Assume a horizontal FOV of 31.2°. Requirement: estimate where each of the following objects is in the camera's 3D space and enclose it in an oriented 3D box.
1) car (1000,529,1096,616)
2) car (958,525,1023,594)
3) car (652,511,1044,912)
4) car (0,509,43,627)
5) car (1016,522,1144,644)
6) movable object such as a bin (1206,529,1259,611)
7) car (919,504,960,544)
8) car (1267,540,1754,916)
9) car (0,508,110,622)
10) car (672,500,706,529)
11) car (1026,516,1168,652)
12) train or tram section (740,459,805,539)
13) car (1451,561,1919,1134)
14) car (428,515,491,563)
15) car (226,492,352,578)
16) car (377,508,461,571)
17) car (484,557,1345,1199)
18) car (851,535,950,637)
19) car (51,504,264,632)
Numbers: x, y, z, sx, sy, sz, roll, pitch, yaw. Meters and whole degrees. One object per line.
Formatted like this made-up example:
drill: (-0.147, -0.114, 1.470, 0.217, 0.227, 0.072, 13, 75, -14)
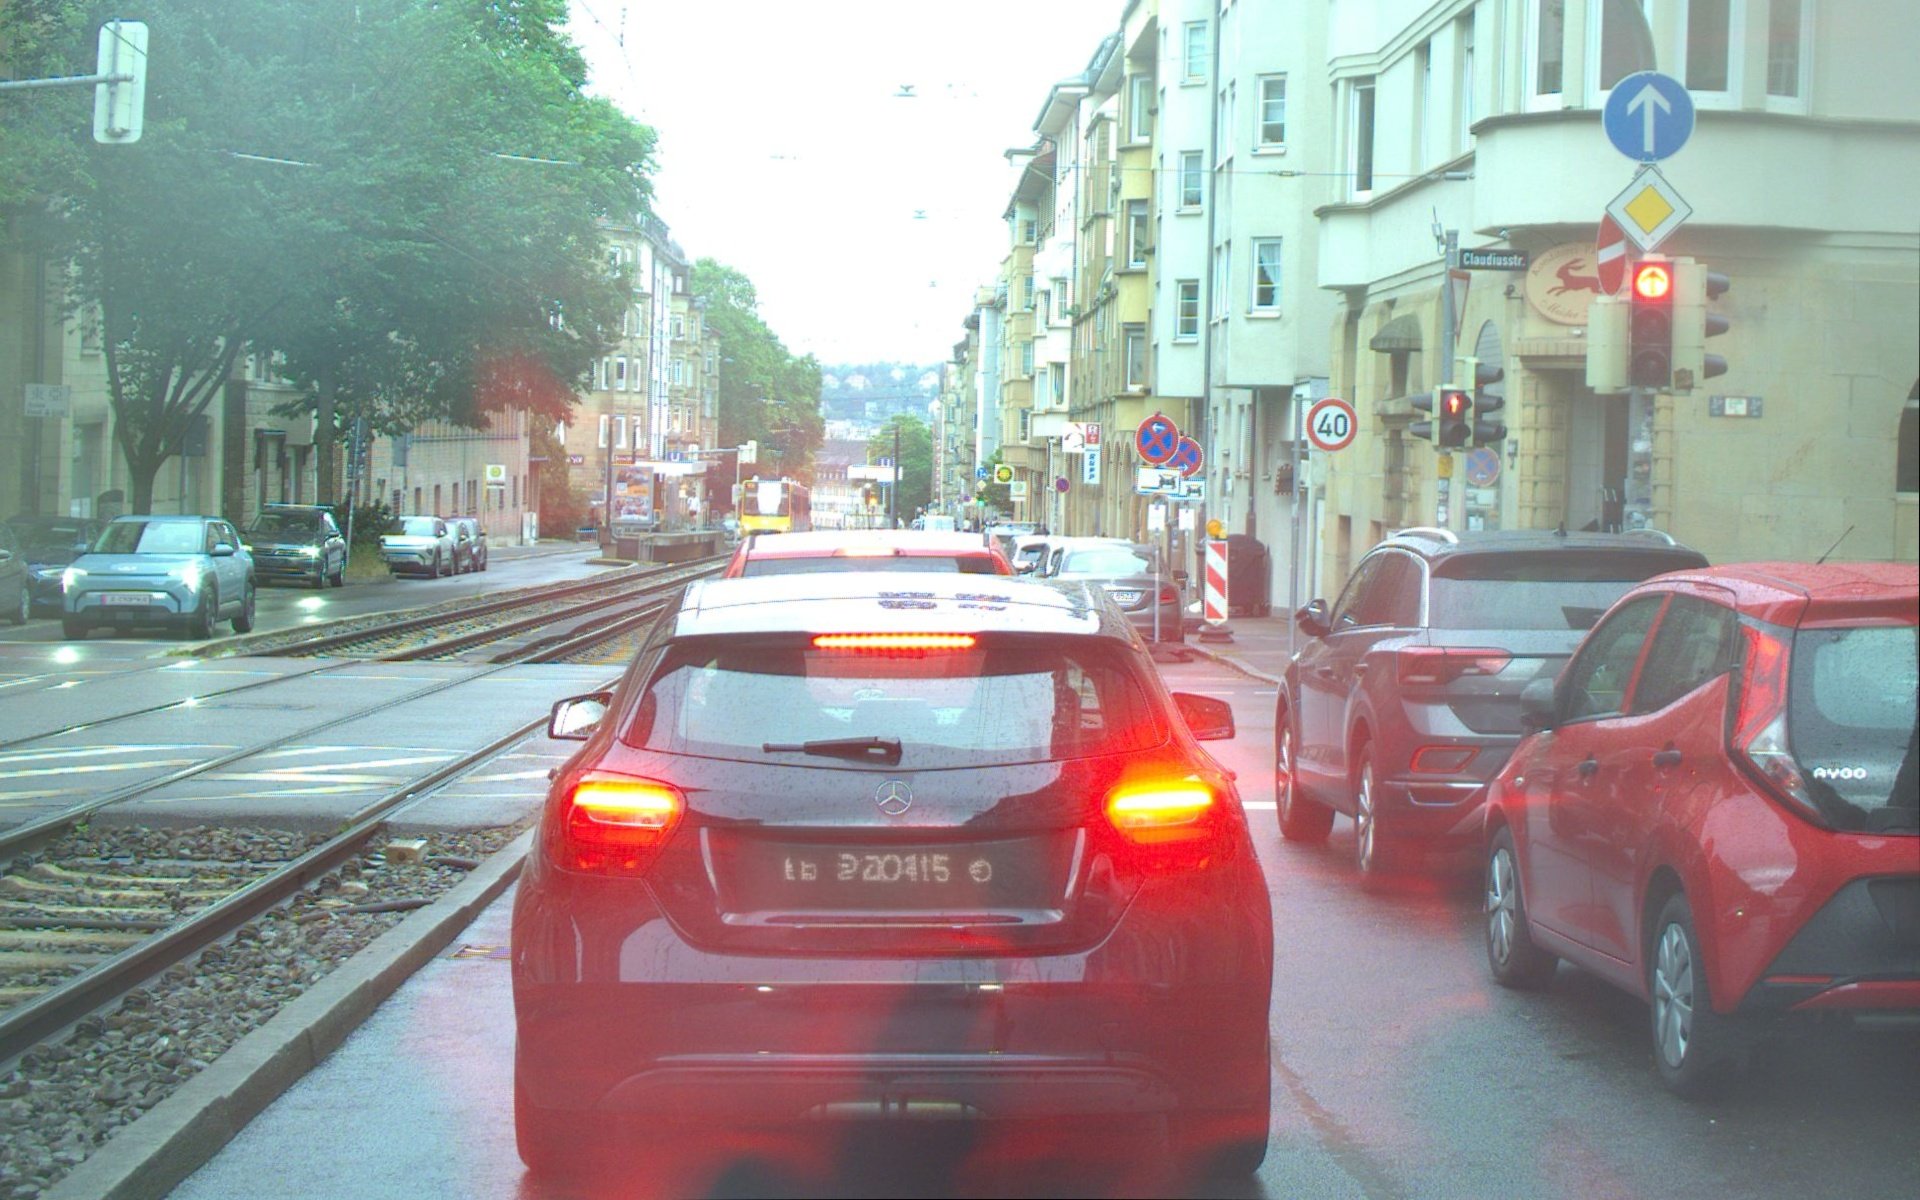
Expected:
car: (1.553, -0.515, 61.523, 1.544, 1.481, 3.548, 1, 1, -1)
car: (0.633, -0.876, 73.592, 1.294, 1.437, 2.929, 1, 1, -1)
car: (-0.478, 0.435, 15.842, 1.565, 1.604, 3.814, 1, 0, -1)
car: (-13.483, -0.433, 45.690, 1.752, 1.547, 4.036, 1, 0, -4)
car: (1.612, -0.258, 47.113, 1.544, 1.585, 3.548, 1, 1, -1)
movable object such as a bin: (4.711, -0.520, 59.570, 0.878, 1.384, 0.982, 1, 0, 3)
car: (-1.033, -3.746, 170.305, 1.993, 1.870, 4.000, 1, 0, -1)
car: (2.387, 0.485, 15.762, 1.544, 1.481, 3.830, 1, 1, -1)
car: (-13.736, -0.522, 50.720, 1.716, 1.605, 3.919, 1, 0, -5)
car: (-12.231, -3.870, 155.251, 1.377, 1.245, 3.298, 1, 0, -2)
car: (1.668, -0.219, 42.638, 1.544, 1.585, 3.548, 1, 1, -1)
train or tram section: (-9.529, -5.097, 175.645, 2.783, 3.847, 10.430, 1, 1, -1)
car: (2.651, 0.630, 10.523, 1.642, 1.443, 3.299, 1, 1, -3)
car: (-14.340, -1.746, 98.571, 1.448, 1.326, 3.272, 1, 0, -2)
car: (-13.958, -1.334, 71.699, 1.875, 1.731, 3.918, 1, 0, -1)
car: (-13.997, -1.556, 89.162, 1.589, 1.575, 3.918, 1, 0, -1)
car: (-0.124, 0.638, 9.455, 1.829, 1.453, 4.104, 1, 1, -1)
car: (-0.972, -0.262, 57.899, 1.544, 1.630, 3.686, 1, 1, 0)
car: (-10.459, -0.417, 45.076, 1.898, 1.582, 3.973, 1, 0, -1)
